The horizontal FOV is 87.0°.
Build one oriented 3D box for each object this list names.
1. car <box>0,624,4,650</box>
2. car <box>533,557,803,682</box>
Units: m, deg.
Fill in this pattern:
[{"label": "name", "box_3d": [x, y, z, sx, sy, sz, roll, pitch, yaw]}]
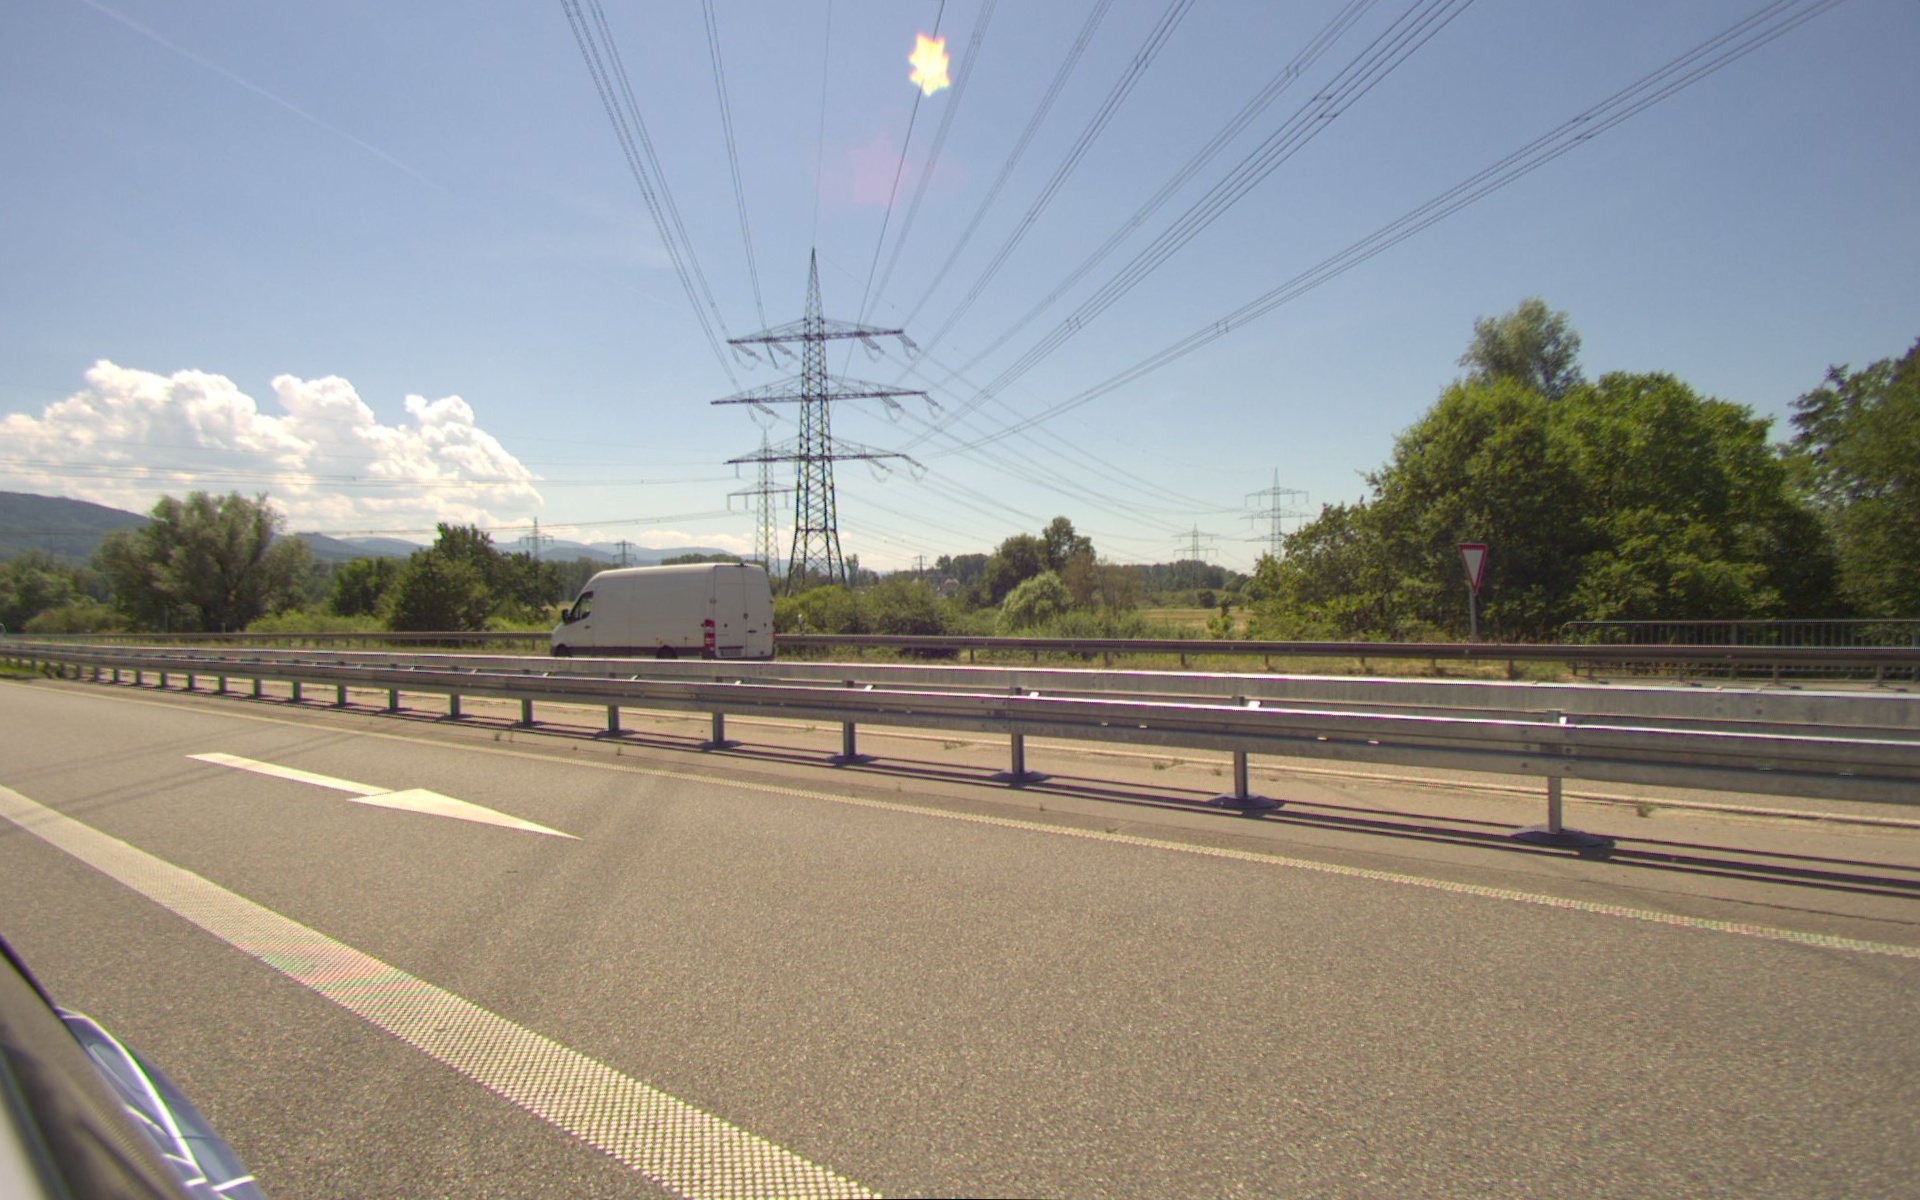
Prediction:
[{"label": "car", "box_3d": [-77.300, 2.963, 79.825, 5.523, 2.007, 1.873, -2, -2, 37]}, {"label": "car", "box_3d": [-7.189, 0.521, 24.404, 7.174, 2.638, 2.501, -2, -3, 38]}]
